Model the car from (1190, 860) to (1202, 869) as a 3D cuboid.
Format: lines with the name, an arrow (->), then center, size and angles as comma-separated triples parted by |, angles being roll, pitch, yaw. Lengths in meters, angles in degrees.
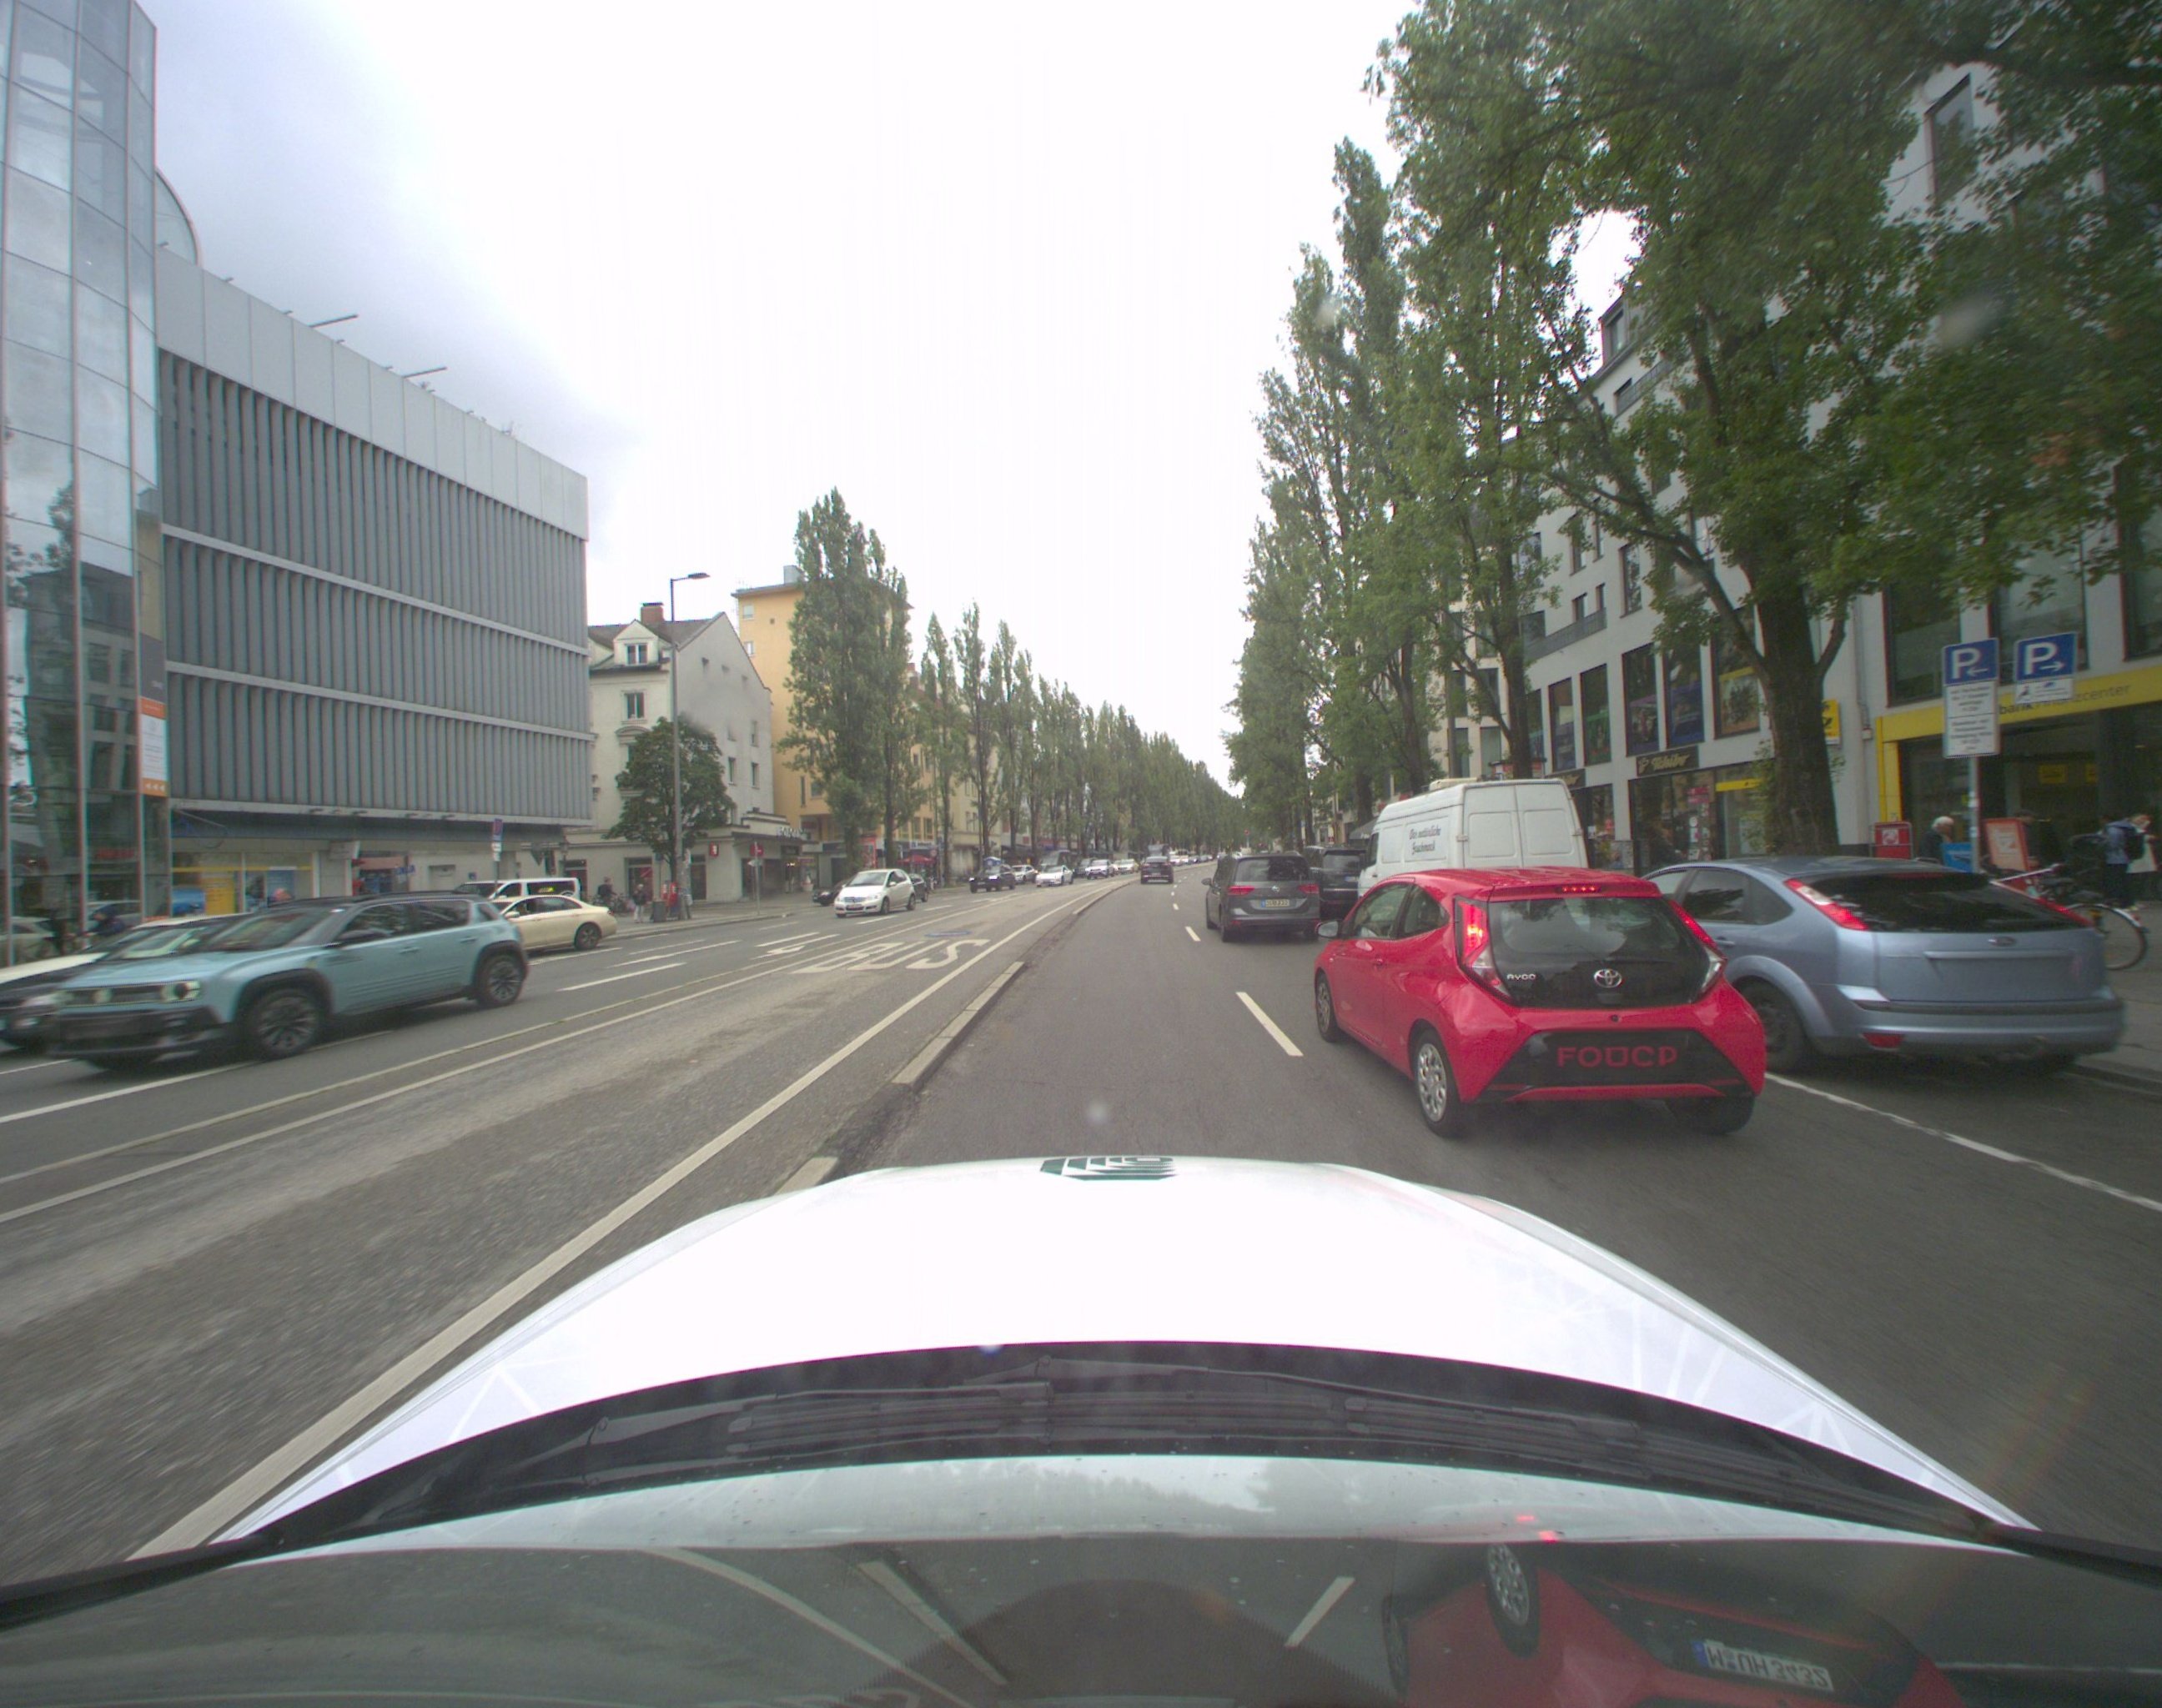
car -> 20.011, 1.815, 141.753 | 1.655, 1.596, 4.015 | -1, -1, 14

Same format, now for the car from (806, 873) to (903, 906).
car -> -12.033, 1.844, 43.366 | 4.527, 1.439, 1.907 | -3, -1, -36

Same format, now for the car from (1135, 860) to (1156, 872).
car -> 8.665, 1.646, 109.869 | 1.925, 1.434, 4.557 | -3, -1, 15

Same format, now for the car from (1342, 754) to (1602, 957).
car -> 6.232, 0.069, 13.918 | 1.985, 2.742, 5.559 | -1, -1, 3

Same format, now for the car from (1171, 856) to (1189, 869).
car -> 14.510, 1.278, 119.190 | 1.847, 1.711, 4.553 | -4, -1, 14

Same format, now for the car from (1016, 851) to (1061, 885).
car -> -3.510, 1.135, 68.789 | 2.155, 2.605, 6.085 | -3, -1, 13

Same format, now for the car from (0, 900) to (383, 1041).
car -> -14.698, 1.700, 13.195 | 1.967, 1.552, 5.095 | -3, -1, 6

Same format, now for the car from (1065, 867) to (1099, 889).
car -> 0.175, 2.371, 80.466 | 1.979, 1.863, 5.732 | -4, -1, 13

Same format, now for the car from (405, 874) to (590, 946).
car -> -19.671, 1.808, 27.830 | 1.981, 2.013, 5.127 | -3, 0, 10

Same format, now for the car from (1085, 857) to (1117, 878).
car -> 1.824, 1.169, 71.377 | 1.896, 1.603, 4.370 | -3, -1, 13

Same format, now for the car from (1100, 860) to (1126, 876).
car -> 3.686, 1.569, 93.915 | 1.979, 1.651, 4.653 | -4, -1, 14

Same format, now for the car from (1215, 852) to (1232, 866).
car -> 17.283, 0.658, 98.960 | 1.747, 1.619, 3.761 | -1, -1, 14

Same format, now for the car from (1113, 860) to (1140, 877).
car -> 4.815, 1.473, 85.616 | 1.980, 1.589, 5.212 | -4, -1, 11

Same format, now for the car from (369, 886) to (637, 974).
car -> -13.234, 1.676, 19.150 | 1.843, 1.469, 5.003 | -5, -1, 15

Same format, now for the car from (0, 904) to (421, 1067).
car -> -11.786, 1.561, 10.922 | 1.721, 1.409, 4.694 | -3, 0, 5

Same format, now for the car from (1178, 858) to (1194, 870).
car -> 16.866, 1.584, 130.404 | 1.926, 1.642, 4.480 | -3, -1, 13

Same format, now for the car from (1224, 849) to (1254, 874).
car -> 10.551, 0.480, 54.570 | 1.799, 1.500, 4.819 | -3, -1, 10

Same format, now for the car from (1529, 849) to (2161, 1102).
car -> 5.591, 0.710, 6.818 | 1.717, 1.454, 4.153 | 0, 0, 5

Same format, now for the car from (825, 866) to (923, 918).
car -> -7.321, 1.310, 29.211 | 1.942, 1.589, 4.009 | -3, -1, 8

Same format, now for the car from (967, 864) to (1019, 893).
car -> -5.732, 1.560, 53.540 | 2.006, 1.716, 4.996 | -3, -1, 10

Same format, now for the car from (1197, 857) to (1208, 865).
car -> 23.311, 1.247, 156.643 | 1.699, 1.414, 3.736 | -3, -1, 13

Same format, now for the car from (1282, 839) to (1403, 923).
car -> 6.351, 0.614, 20.369 | 1.919, 1.805, 4.787 | -1, 0, 6

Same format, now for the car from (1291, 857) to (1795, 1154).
car -> 2.746, 0.784, 5.841 | 1.658, 1.446, 3.598 | -1, -1, 2

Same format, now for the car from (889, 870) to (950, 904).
car -> -8.060, 1.634, 40.921 | 1.774, 1.466, 4.007 | -3, -1, 7

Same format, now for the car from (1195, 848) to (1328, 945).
car -> 3.409, 0.746, 16.138 | 1.755, 1.614, 4.184 | -2, 0, 1

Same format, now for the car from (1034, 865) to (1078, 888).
car -> -1.717, 1.524, 57.309 | 1.786, 1.394, 4.708 | -3, -1, 14

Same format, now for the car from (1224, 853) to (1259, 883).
car -> 9.539, 0.843, 48.620 | 1.913, 1.700, 4.663 | -1, -1, 10

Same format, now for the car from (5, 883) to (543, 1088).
car -> -8.454, 1.233, 9.172 | 1.809, 1.545, 4.005 | -5, -1, 4

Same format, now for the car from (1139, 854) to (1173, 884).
car -> 4.552, 0.850, 48.936 | 1.871, 1.642, 4.590 | -3, 0, 6

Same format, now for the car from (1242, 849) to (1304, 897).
car -> 7.461, 0.712, 32.021 | 1.719, 1.686, 4.414 | -2, 0, 5

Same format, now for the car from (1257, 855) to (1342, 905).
car -> 6.854, 0.770, 25.993 | 1.763, 1.433, 4.576 | -1, 0, 4
